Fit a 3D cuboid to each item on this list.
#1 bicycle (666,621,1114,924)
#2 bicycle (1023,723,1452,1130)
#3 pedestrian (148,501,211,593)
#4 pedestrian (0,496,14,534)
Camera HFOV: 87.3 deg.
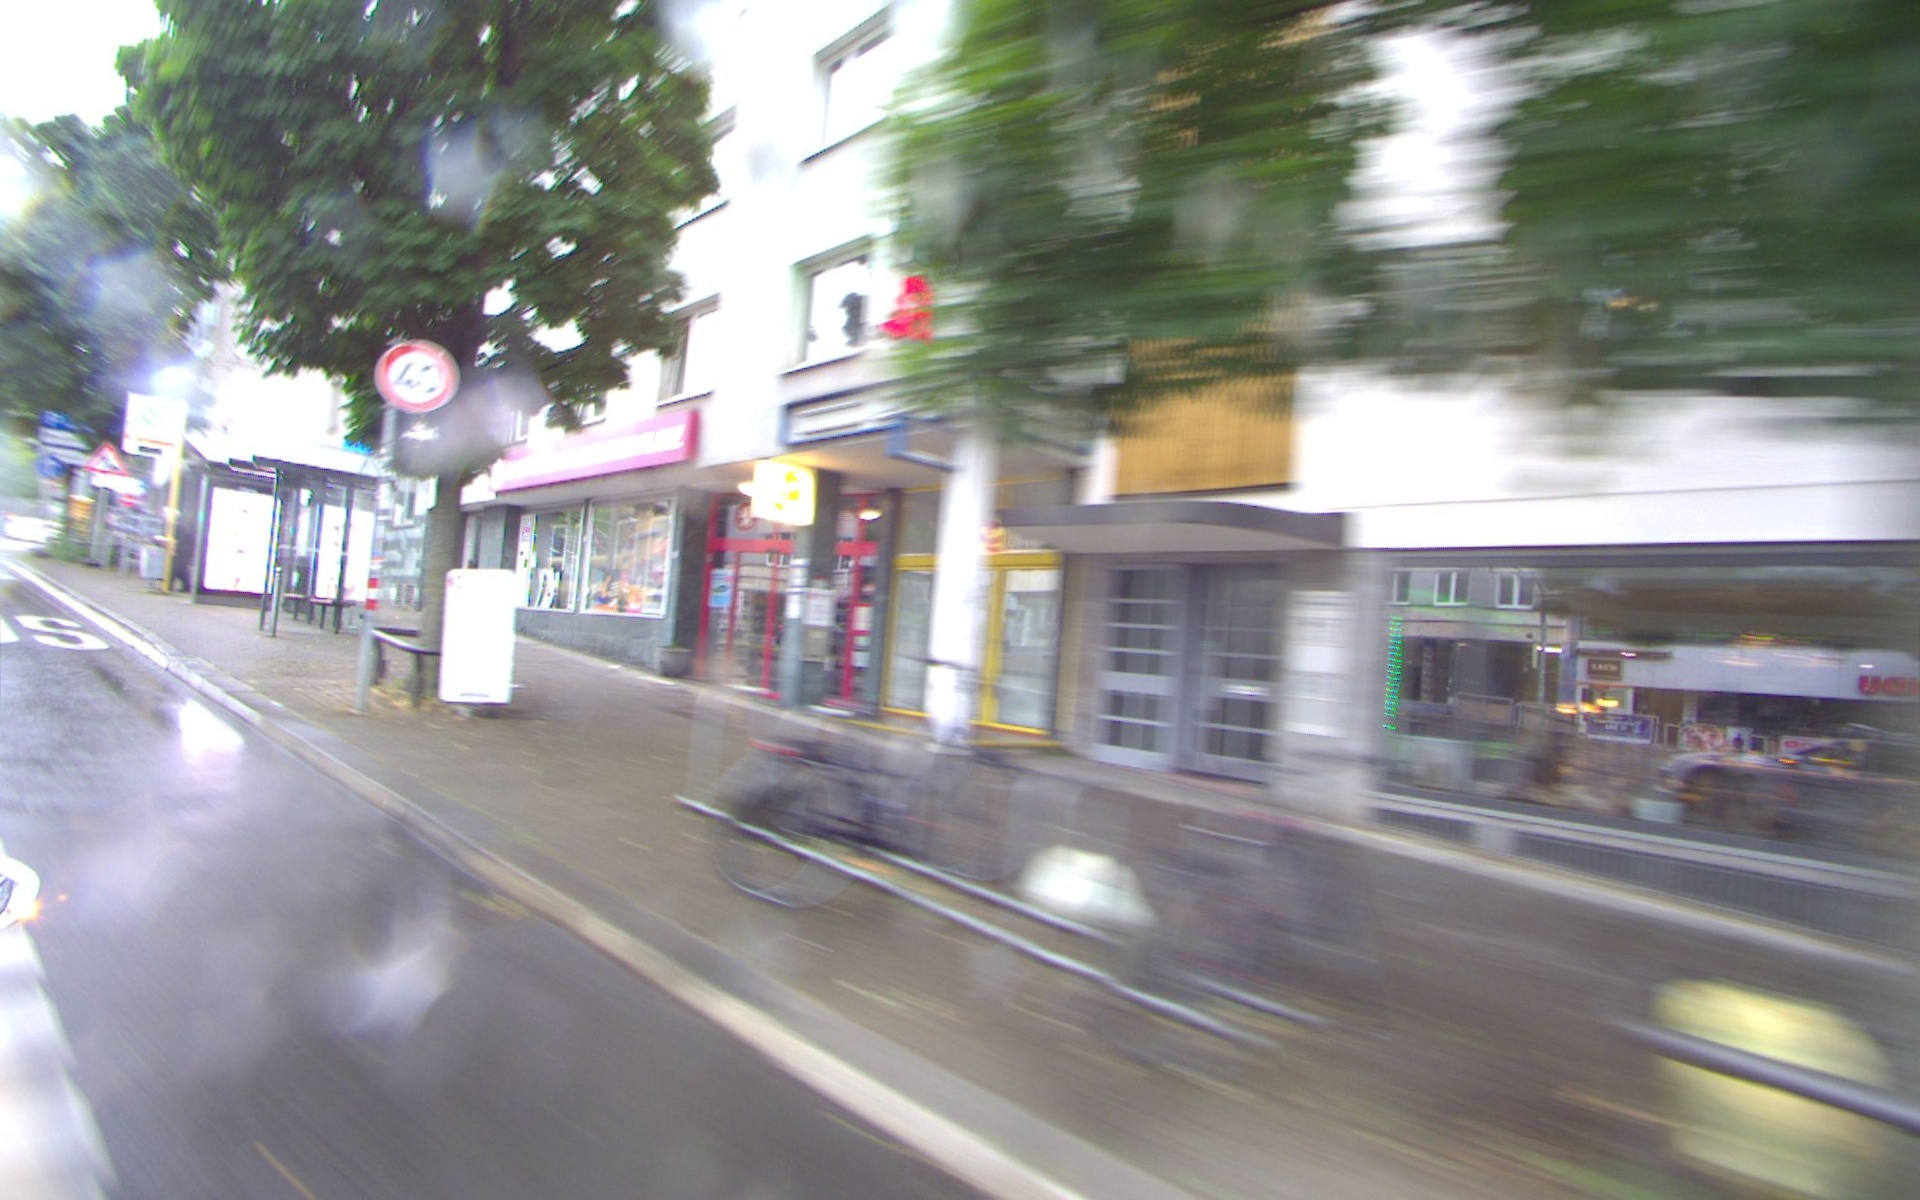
[{"bbox_3d":[-0.225,0.824,5.102,2.310,1.188,0.641,8,-3,-44],"label":"bicycle"},{"bbox_3d":[1.141,1.089,3.837,1.812,1.105,0.641,8,0,-44],"label":"bicycle"},{"bbox_3d":[-15.131,-1.030,19.490,0.954,1.645,0.664,6,-1,42],"label":"pedestrian"},{"bbox_3d":[-47.753,-4.245,50.081,1.051,1.806,0.699,6,-1,39],"label":"pedestrian"}]
